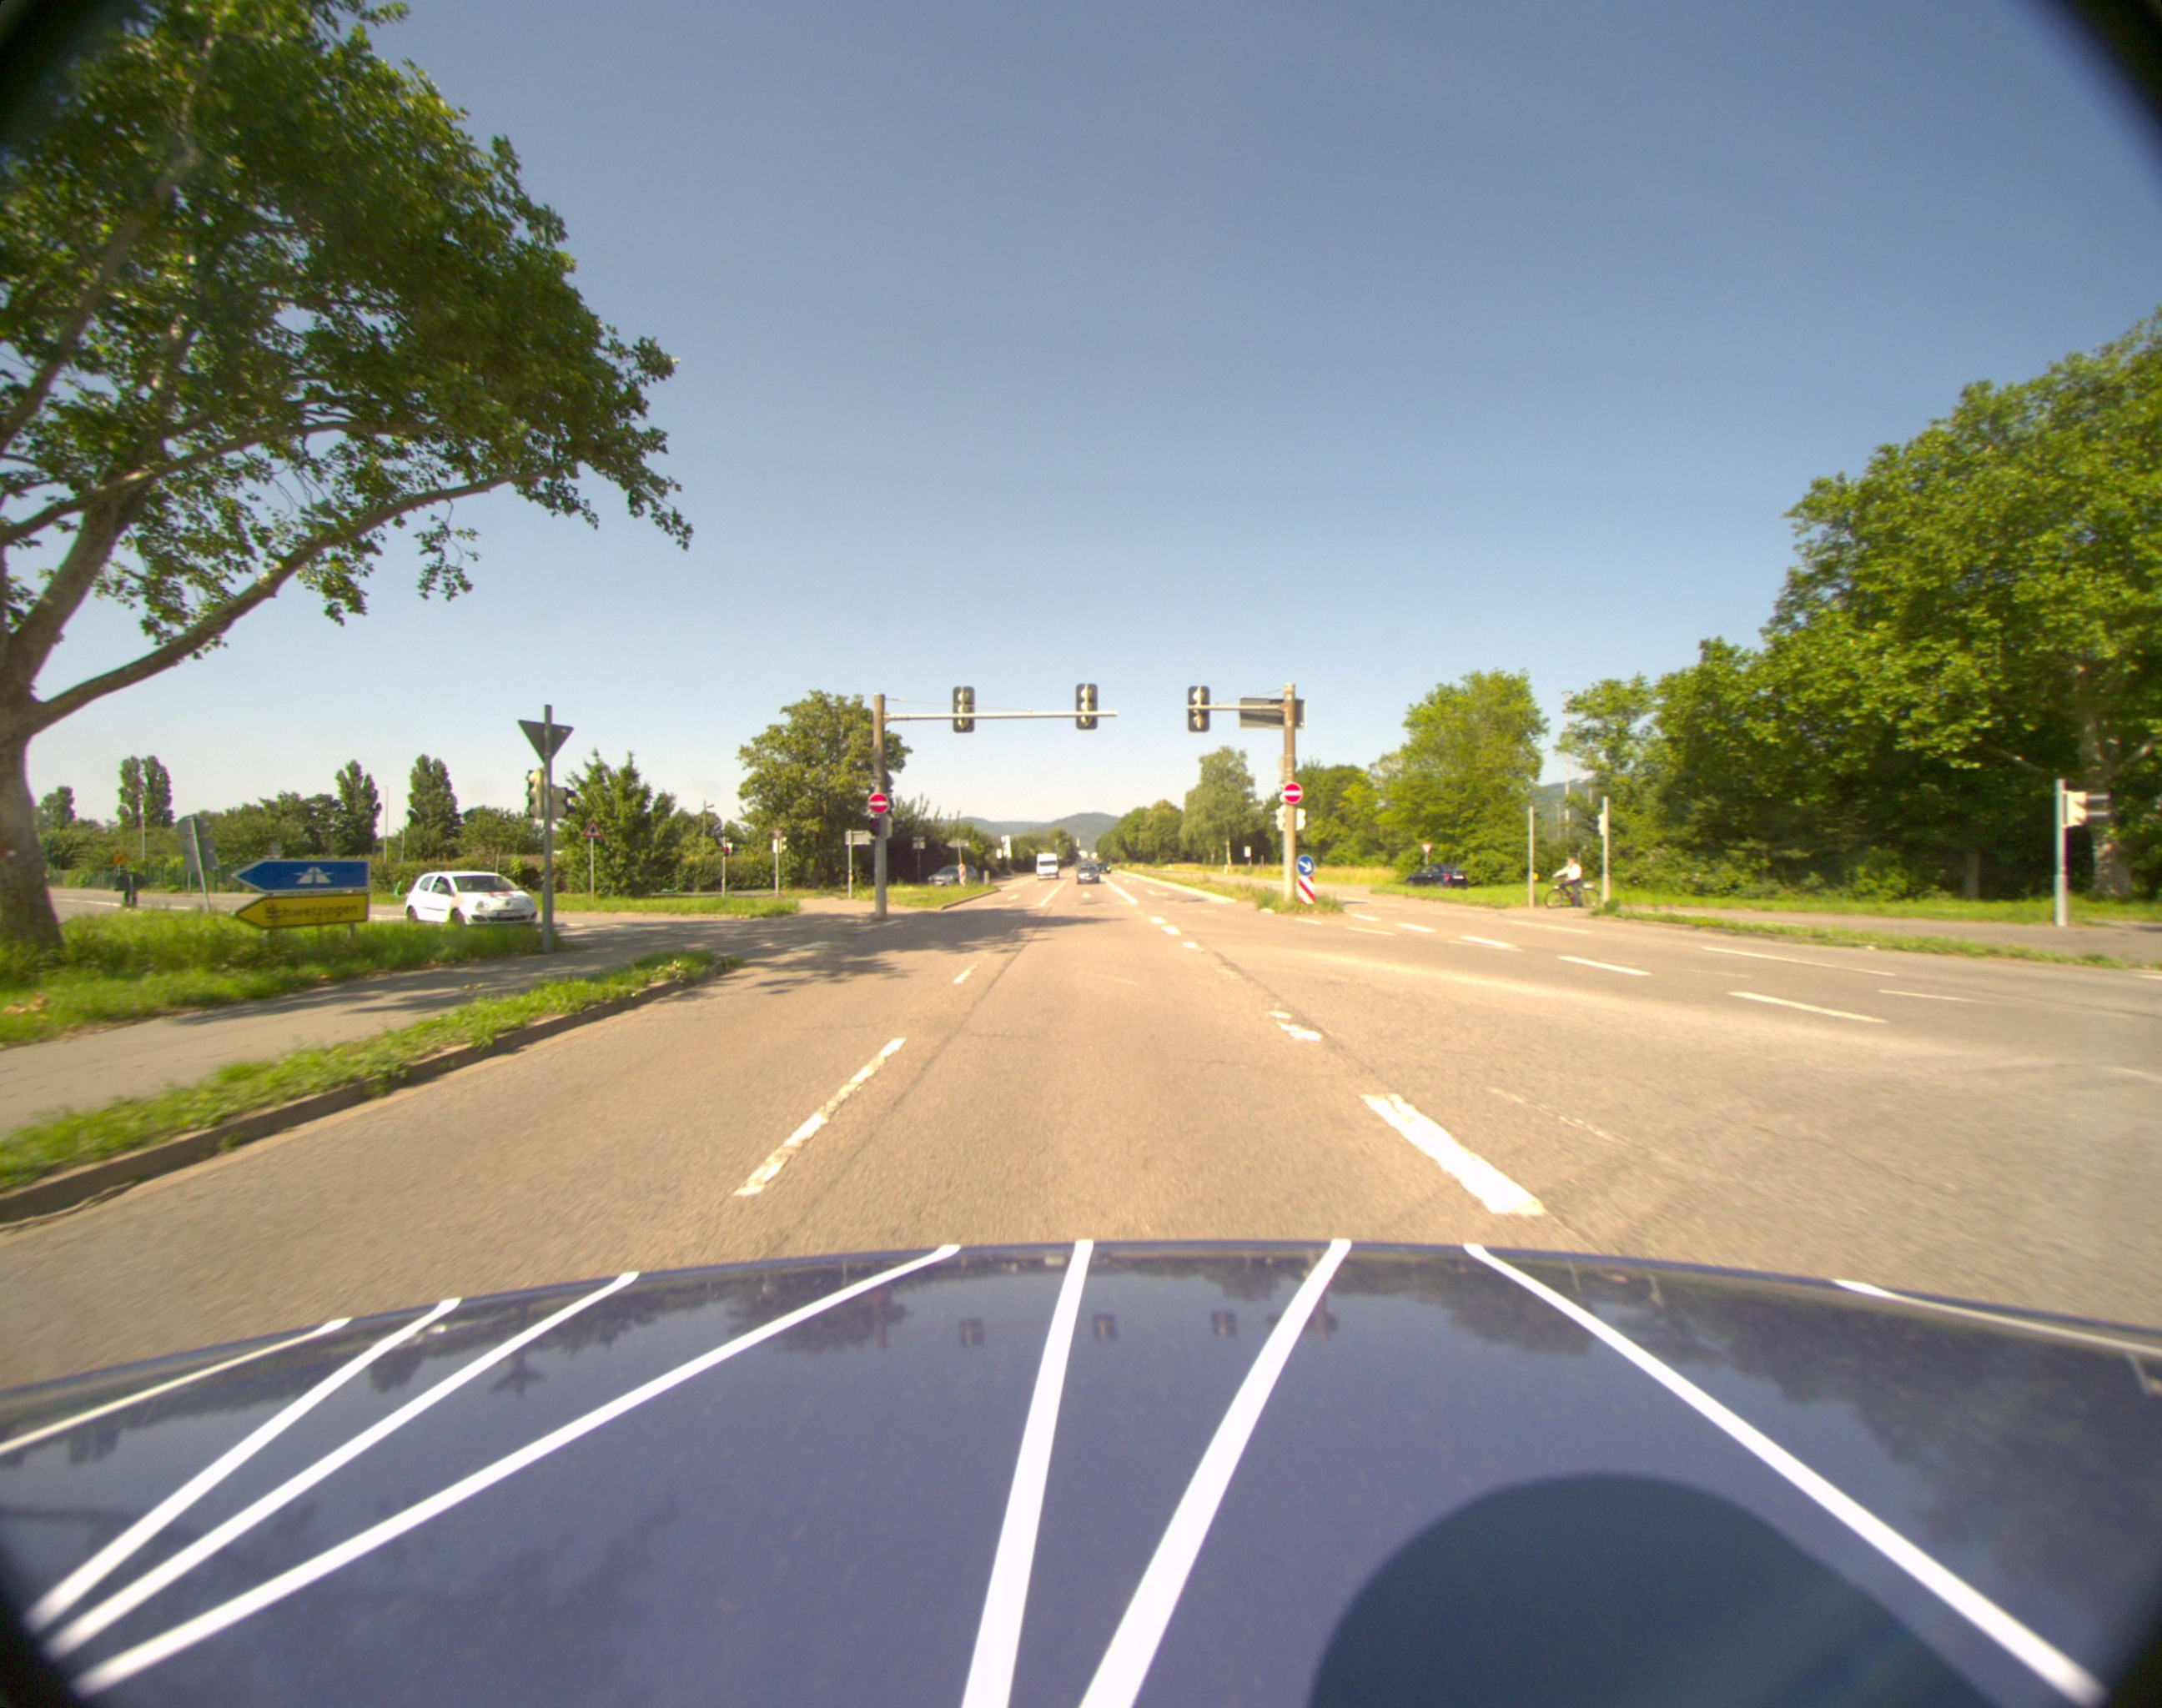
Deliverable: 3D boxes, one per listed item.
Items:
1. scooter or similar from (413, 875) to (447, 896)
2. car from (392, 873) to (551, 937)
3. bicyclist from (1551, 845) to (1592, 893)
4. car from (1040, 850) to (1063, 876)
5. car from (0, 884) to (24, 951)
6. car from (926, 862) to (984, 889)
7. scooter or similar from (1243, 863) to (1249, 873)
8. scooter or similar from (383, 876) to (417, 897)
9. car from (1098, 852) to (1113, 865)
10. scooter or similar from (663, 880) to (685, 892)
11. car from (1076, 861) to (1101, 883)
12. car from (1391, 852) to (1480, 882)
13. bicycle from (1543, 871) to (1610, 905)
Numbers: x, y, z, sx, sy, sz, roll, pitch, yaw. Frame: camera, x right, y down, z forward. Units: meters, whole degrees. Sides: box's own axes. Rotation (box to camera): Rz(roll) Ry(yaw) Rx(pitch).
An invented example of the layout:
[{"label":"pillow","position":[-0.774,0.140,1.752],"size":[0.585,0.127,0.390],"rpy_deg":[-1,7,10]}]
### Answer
[{"label":"scooter or similar","position":[-36.656,1.761,42.807],"size":[1.384,1.111,0.500],"rpy_deg":[-2,1,-6]},{"label":"car","position":[-15.706,1.248,19.571],"size":[3.745,1.460,1.789],"rpy_deg":[-1,0,27]},{"label":"bicyclist","position":[15.998,0.479,24.810],"size":[0.848,1.508,0.747],"rpy_deg":[-1,0,6]},{"label":"car","position":[-2.820,0.842,73.524],"size":[1.998,2.432,5.088],"rpy_deg":[-2,0,0]},{"label":"car","position":[-26.994,1.592,17.788],"size":[4.456,1.625,1.890],"rpy_deg":[-2,1,45]},{"label":"car","position":[-8.295,1.400,50.473],"size":[1.904,1.670,4.689],"rpy_deg":[-1,0,17]},{"label":"scooter or similar","position":[19.695,1.639,90.678],"size":[0.369,1.179,1.340],"rpy_deg":[1,1,1]},{"label":"scooter or similar","position":[-38.215,1.806,42.639],"size":[1.384,1.111,0.500],"rpy_deg":[-2,1,-6]},{"label":"car","position":[2.971,0.539,92.245],"size":[1.678,1.435,3.622],"rpy_deg":[-2,0,1]},{"label":"scooter or similar","position":[-25.007,1.973,46.683],"size":[1.123,0.722,0.435],"rpy_deg":[0,0,-19]},{"label":"car","position":[0.538,1.252,54.037],"size":[1.678,1.435,4.361],"rpy_deg":[-2,0,1]},{"label":"car","position":[19.166,0.690,41.302],"size":[2.002,1.486,4.277],"rpy_deg":[1,0,-19]},{"label":"bicycle","position":[16.156,1.109,24.806],"size":[1.679,1.035,0.747],"rpy_deg":[-1,0,6]}]
